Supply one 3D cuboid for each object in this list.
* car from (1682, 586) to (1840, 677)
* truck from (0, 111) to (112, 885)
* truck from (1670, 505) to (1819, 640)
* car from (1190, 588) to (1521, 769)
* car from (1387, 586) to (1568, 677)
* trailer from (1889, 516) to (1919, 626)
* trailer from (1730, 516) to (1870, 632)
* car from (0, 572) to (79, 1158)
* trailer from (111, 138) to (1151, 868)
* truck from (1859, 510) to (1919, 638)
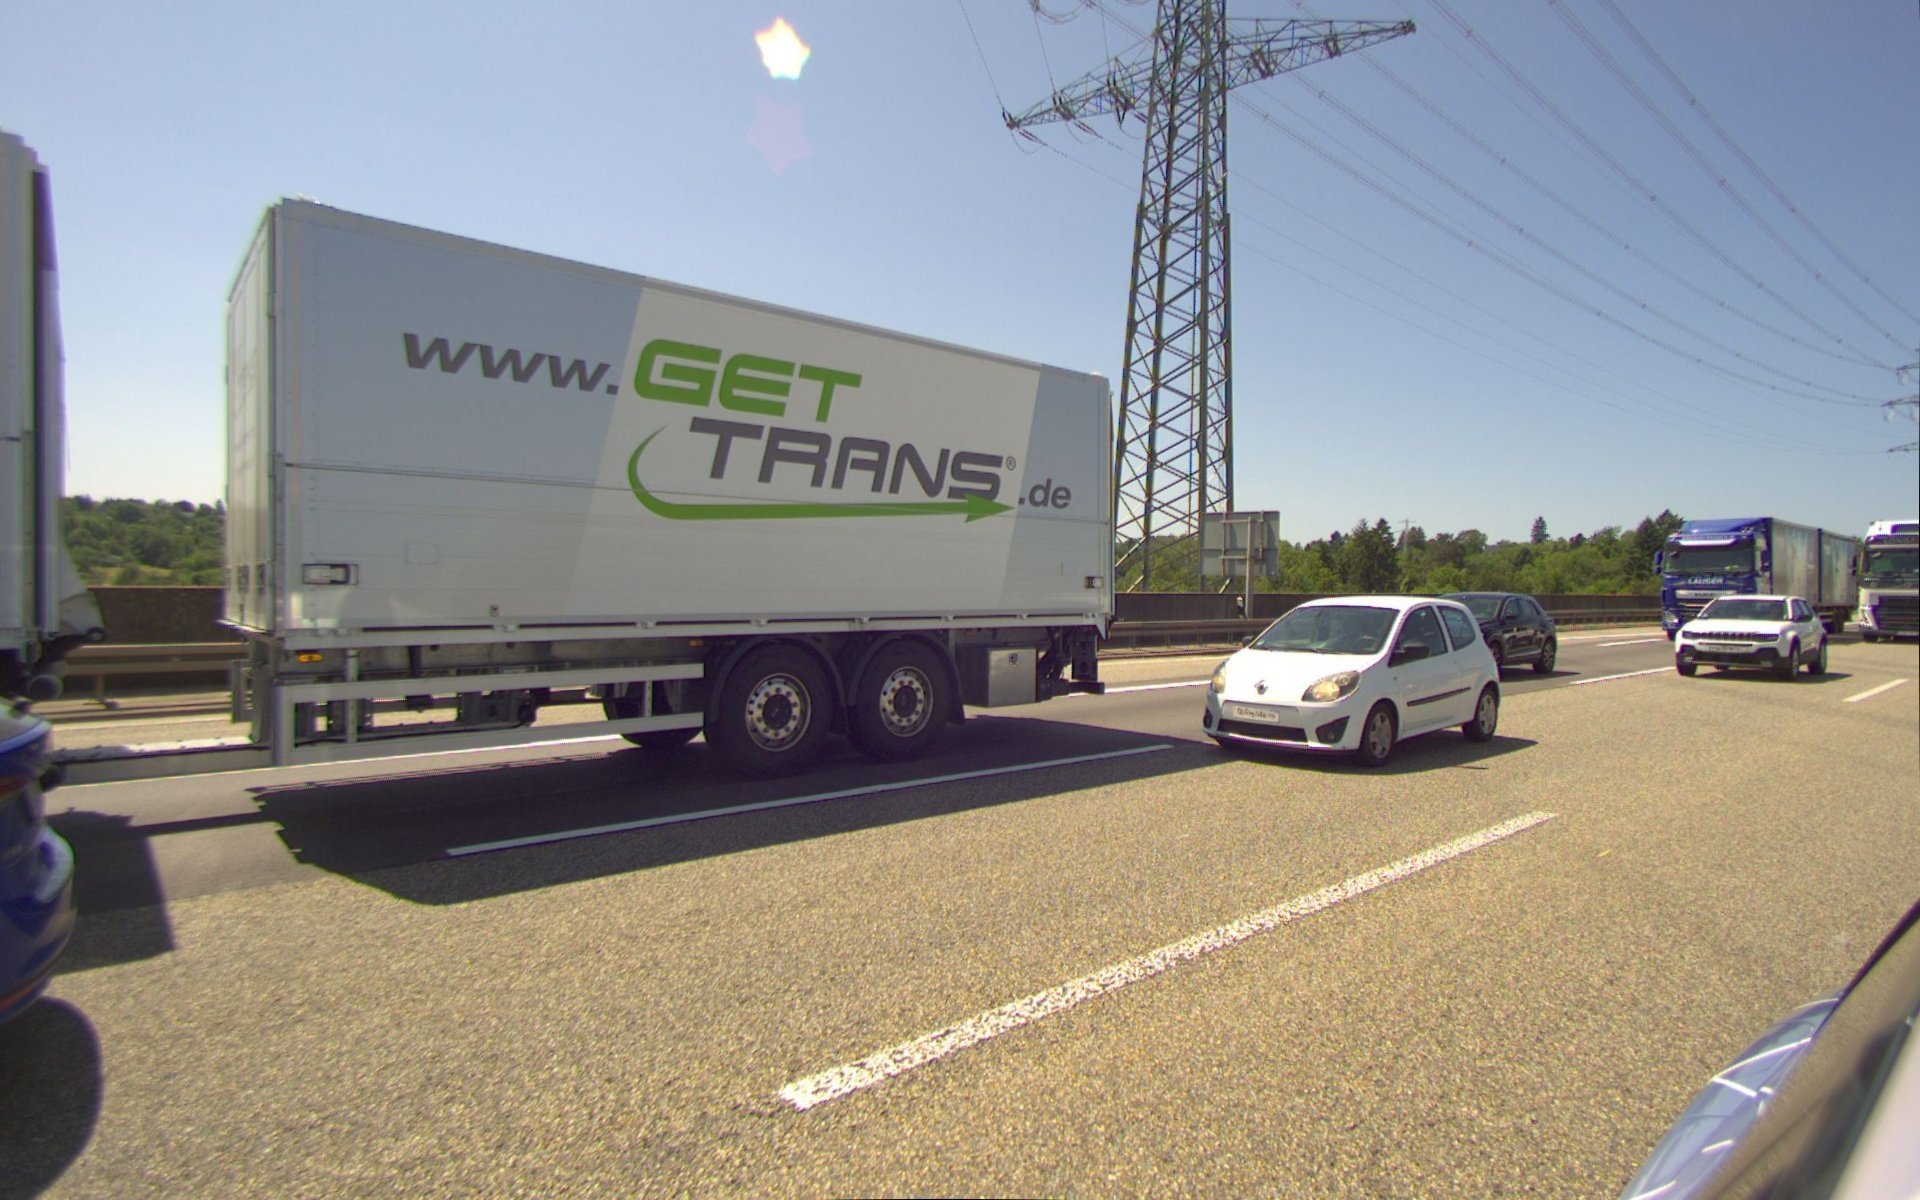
[{"bbox_3d":[15.253,0.529,19.209,3.688,1.554,1.720,0,1,-41],"label":"car"},{"bbox_3d":[-9.130,-0.430,2.647,10.581,3.648,2.855,-1,0,-41],"label":"truck"},{"bbox_3d":[26.271,-0.845,33.741,7.789,4.018,2.515,0,0,-41],"label":"truck"},{"bbox_3d":[3.990,0.623,9.965,3.566,1.458,1.582,0,1,-41],"label":"car"},{"bbox_3d":[9.722,0.513,18.906,3.820,1.524,1.708,0,1,-41],"label":"car"},{"bbox_3d":[38.153,-1.106,38.630,9.604,3.918,2.895,-1,0,-41],"label":"trailer"},{"bbox_3d":[33.247,-0.985,39.836,10.696,4.044,2.541,-1,0,-41],"label":"trailer"},{"bbox_3d":[-4.487,0.657,1.781,4.423,1.458,1.712,0,1,-42],"label":"car"},{"bbox_3d":[-2.040,-0.501,8.792,8.146,3.640,2.849,0,0,-41],"label":"trailer"},{"bbox_3d":[32.046,-0.834,33.273,6.624,3.941,2.911,-1,0,-41],"label":"truck"}]
